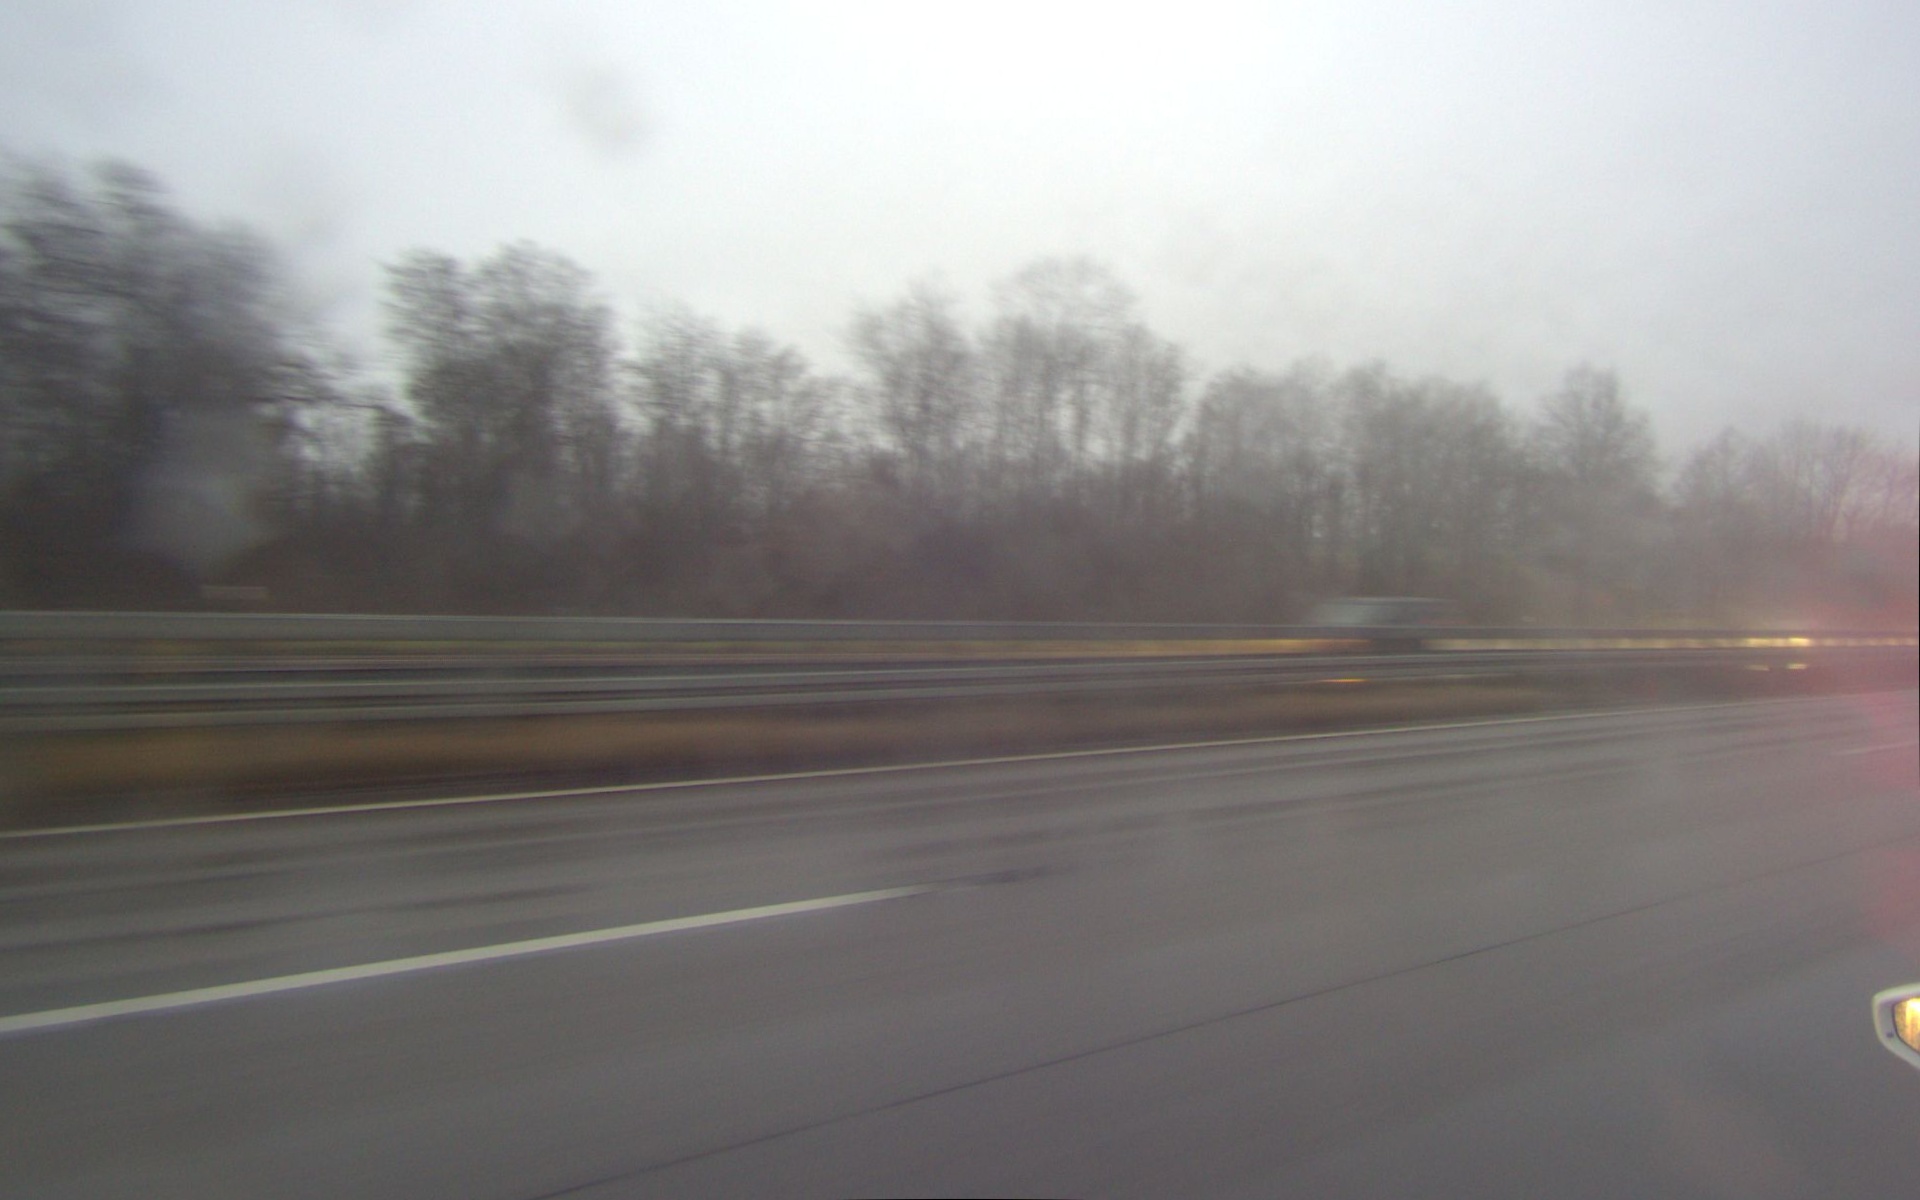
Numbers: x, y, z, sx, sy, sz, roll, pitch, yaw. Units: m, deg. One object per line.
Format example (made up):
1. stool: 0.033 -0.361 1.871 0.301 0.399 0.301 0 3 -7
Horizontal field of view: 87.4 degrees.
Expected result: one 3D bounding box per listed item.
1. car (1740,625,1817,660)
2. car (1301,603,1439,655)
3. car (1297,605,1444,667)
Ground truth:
1. car: 41.092 2.150 50.416 4.156 1.657 1.674 2 -1 -31
2. car: 13.192 0.943 32.247 4.730 1.394 1.565 3 1 -32
3. car: 10.677 0.941 26.064 3.800 1.394 1.565 3 1 -32
